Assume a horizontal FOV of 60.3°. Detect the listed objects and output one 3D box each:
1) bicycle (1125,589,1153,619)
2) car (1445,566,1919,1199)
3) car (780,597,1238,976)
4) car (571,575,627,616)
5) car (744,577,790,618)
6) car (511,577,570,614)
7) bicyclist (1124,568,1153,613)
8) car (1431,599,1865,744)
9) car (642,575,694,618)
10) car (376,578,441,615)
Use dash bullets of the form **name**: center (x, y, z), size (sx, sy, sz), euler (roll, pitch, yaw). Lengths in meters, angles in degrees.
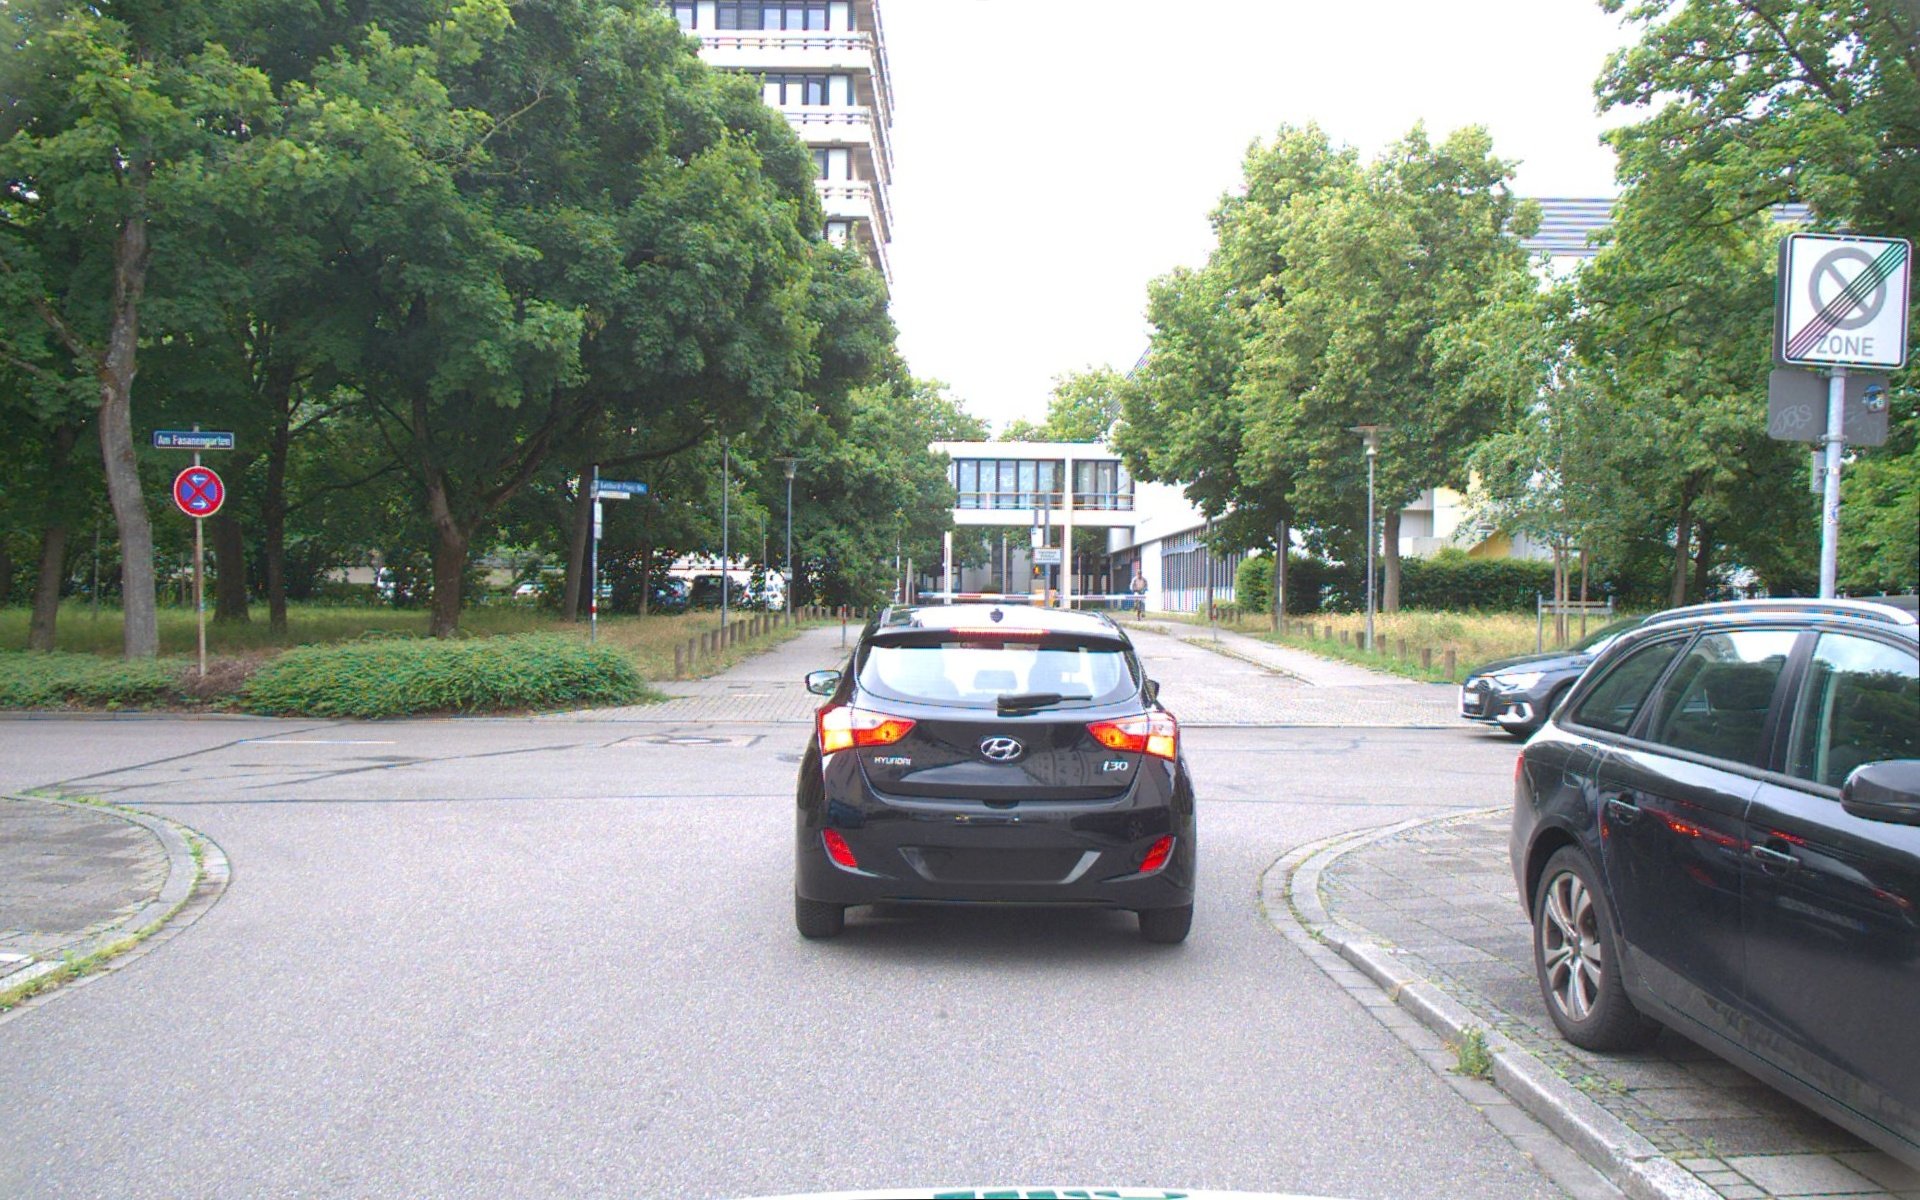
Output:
- **bicycle**: center (6.787, 0.148, 62.735), size (0.849, 1.093, 2.142), euler (0, 1, 0)
- **car**: center (2.894, 0.658, 4.031), size (1.823, 1.488, 4.723), euler (-1, 0, -3)
- **car**: center (0.099, 0.745, 8.465), size (1.809, 1.488, 3.825), euler (1, 0, -3)
- **car**: center (-16.343, -0.177, 75.107), size (1.954, 1.758, 3.995), euler (0, -1, -5)
- **car**: center (-8.805, -0.088, 75.638), size (1.954, 1.793, 3.996), euler (0, -1, -5)
- **car**: center (-19.010, -0.205, 75.127), size (1.954, 1.646, 3.996), euler (0, 0, -5)
- **bicyclist**: center (6.760, -0.375, 62.617), size (0.996, 1.673, 0.923), euler (0, 1, 0)
- **car**: center (7.488, 0.750, 18.249), size (4.021, 1.488, 1.869), euler (0, 1, -3)
- **car**: center (-13.305, -0.140, 75.492), size (1.954, 1.825, 3.995), euler (0, -1, -5)
- **car**: center (-25.084, -0.173, 75.379), size (1.880, 1.646, 3.996), euler (0, 0, -5)
